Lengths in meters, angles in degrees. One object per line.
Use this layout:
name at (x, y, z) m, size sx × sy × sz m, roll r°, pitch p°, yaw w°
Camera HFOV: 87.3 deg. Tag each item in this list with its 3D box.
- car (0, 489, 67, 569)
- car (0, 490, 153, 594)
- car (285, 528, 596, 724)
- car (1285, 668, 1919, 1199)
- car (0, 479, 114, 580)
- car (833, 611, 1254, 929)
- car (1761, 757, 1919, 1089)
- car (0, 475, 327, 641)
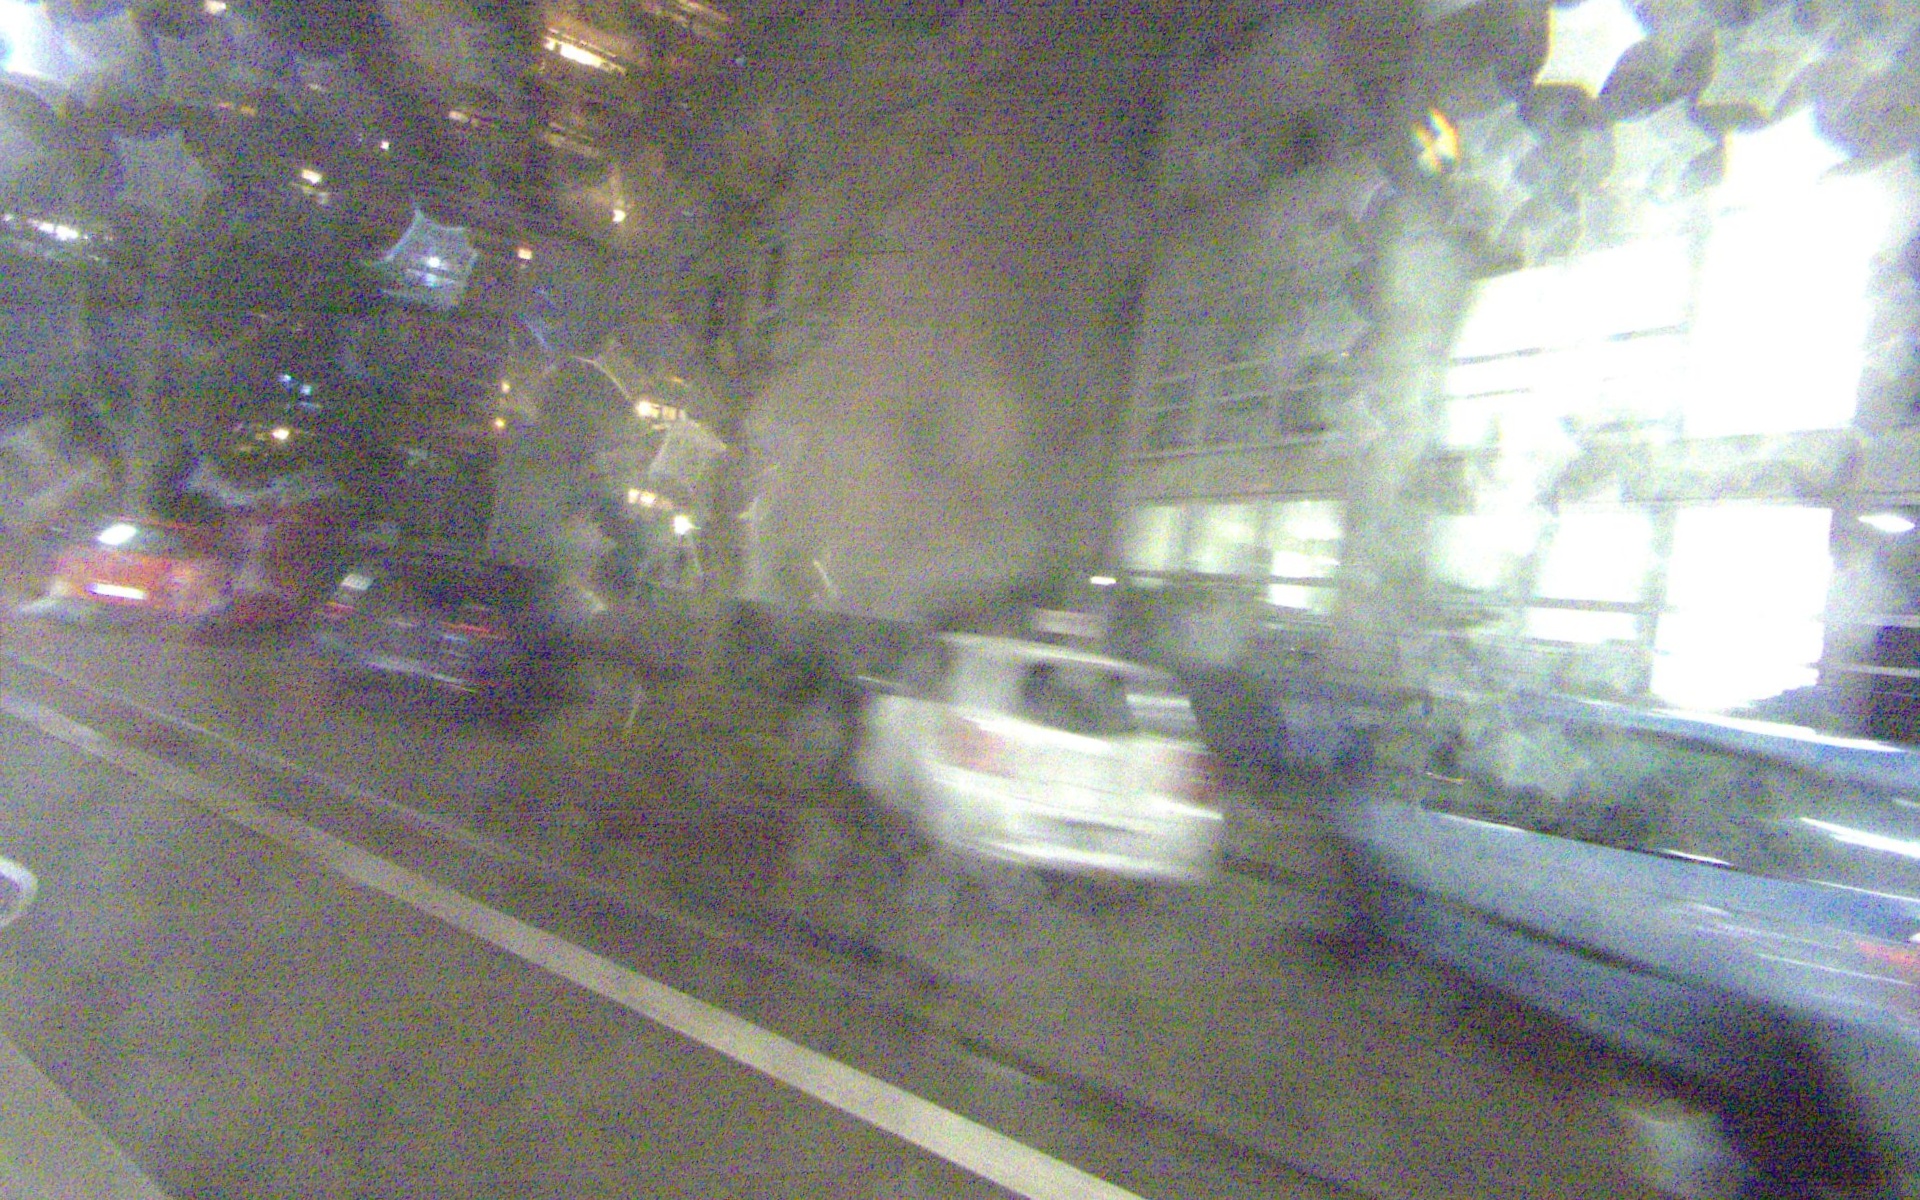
car at (-21.098, -1.672, 20.983) m, size 1.881 × 1.589 × 3.955 m, roll 9°, pitch -3°, yaw -13°
car at (-15.793, -1.035, 16.645) m, size 1.920 × 1.470 × 4.242 m, roll 9°, pitch -3°, yaw -12°
car at (-5.092, 0.260, 10.466) m, size 1.610 × 1.446 × 3.824 m, roll 9°, pitch -2°, yaw -9°
car at (3.349, 1.311, 4.628) m, size 1.791 × 1.551 × 3.885 m, roll 9°, pitch -2°, yaw -9°
car at (-18.567, -1.450, 19.064) m, size 1.999 × 1.717 × 4.240 m, roll 9°, pitch -3°, yaw -13°
car at (0.284, 0.985, 7.320) m, size 1.678 × 1.550 × 3.743 m, roll 9°, pitch -3°, yaw -15°
car at (5.689, 1.673, 3.747) m, size 1.793 × 1.449 × 3.849 m, roll 9°, pitch -3°, yaw -13°
car at (-10.531, -0.460, 13.719) m, size 2.026 × 1.641 × 3.818 m, roll 9°, pitch -3°, yaw -16°
